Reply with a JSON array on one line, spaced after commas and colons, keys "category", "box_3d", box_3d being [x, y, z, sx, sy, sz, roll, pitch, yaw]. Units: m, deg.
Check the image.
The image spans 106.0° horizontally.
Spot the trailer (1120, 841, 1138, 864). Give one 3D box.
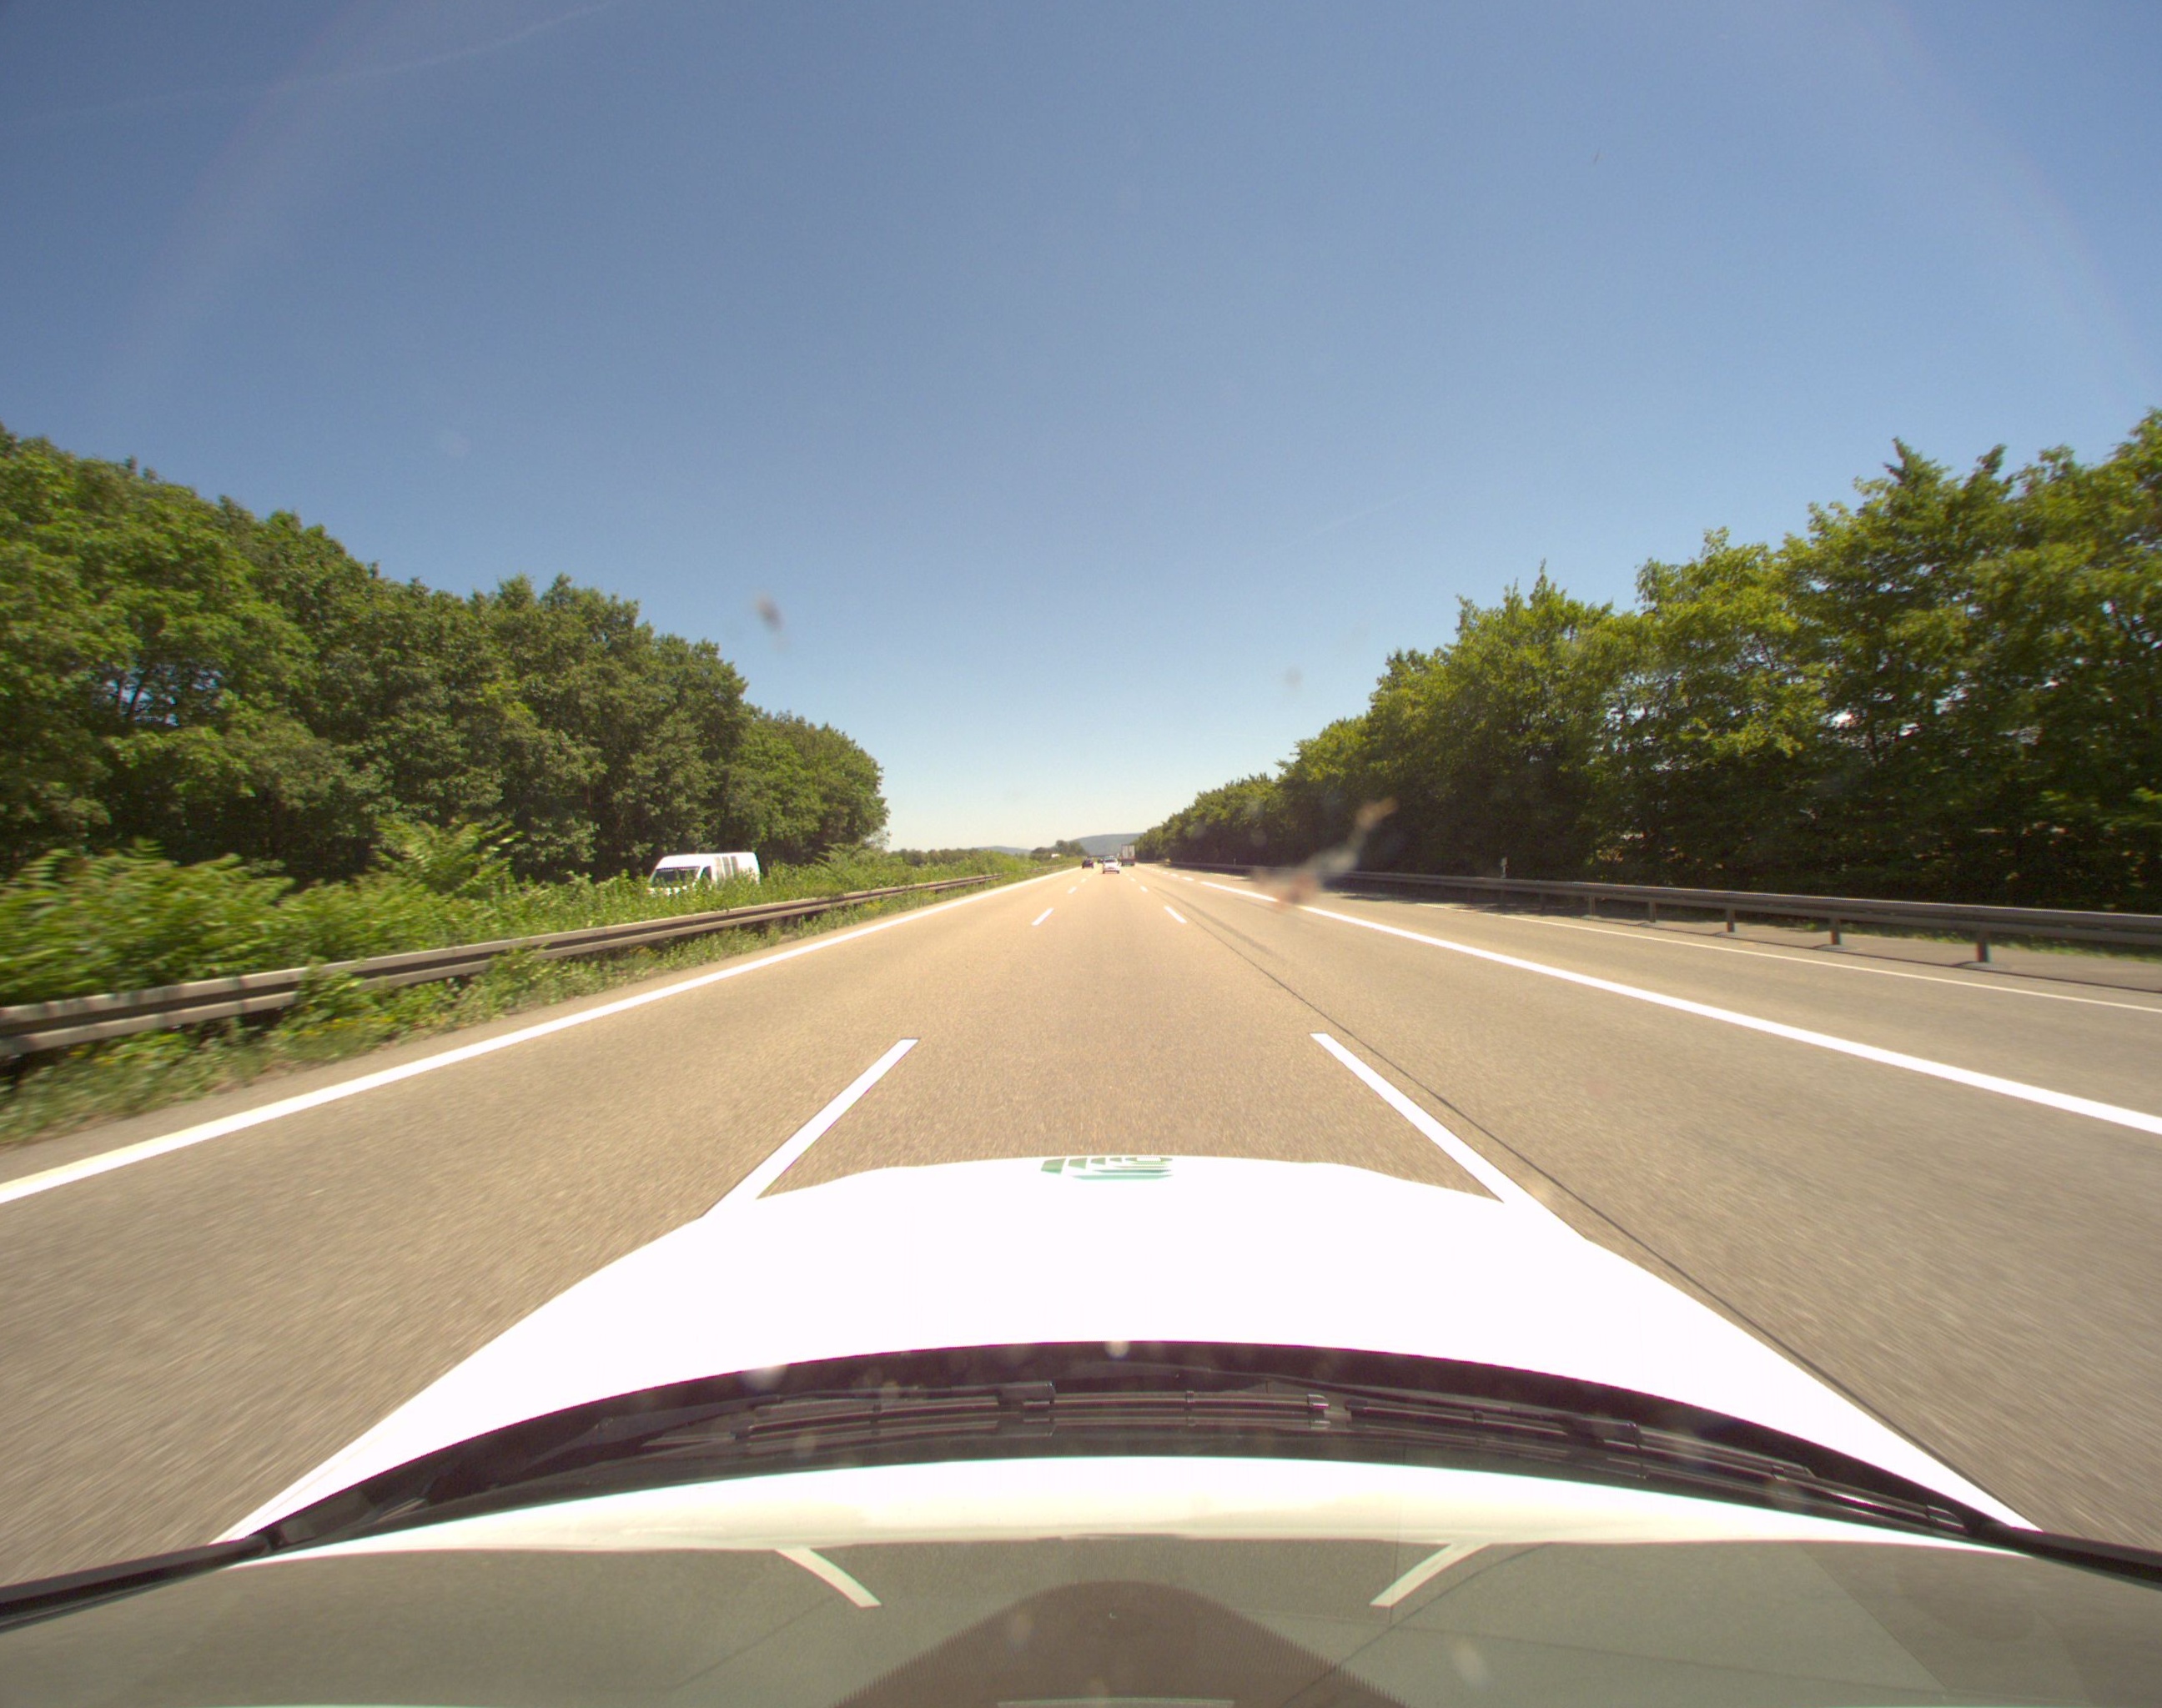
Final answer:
[{"category": "trailer", "box_3d": [9.495, -0.188, 159.550, 3.203, 4.345, 13.645, 0, 0, 4]}]

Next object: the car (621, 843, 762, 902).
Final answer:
[{"category": "car", "box_3d": [-14.987, 0.680, 31.906, 2.138, 2.054, 6.636, 0, 0, 2]}]

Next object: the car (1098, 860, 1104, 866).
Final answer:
[{"category": "car", "box_3d": [5.927, 2.691, 240.888, 1.788, 1.551, 4.002, -1, -1, 2]}]

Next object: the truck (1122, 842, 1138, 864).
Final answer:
[{"category": "truck", "box_3d": [10.090, -0.139, 167.036, 3.203, 4.345, 6.598, 0, -1, 4]}]

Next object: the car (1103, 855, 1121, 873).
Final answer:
[{"category": "car", "box_3d": [3.090, 1.006, 82.333, 1.726, 1.684, 4.001, -2, 0, 1]}]

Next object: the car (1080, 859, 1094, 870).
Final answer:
[{"category": "car", "box_3d": [0.967, 1.585, 127.574, 1.986, 1.712, 4.001, 0, 0, 1]}]
